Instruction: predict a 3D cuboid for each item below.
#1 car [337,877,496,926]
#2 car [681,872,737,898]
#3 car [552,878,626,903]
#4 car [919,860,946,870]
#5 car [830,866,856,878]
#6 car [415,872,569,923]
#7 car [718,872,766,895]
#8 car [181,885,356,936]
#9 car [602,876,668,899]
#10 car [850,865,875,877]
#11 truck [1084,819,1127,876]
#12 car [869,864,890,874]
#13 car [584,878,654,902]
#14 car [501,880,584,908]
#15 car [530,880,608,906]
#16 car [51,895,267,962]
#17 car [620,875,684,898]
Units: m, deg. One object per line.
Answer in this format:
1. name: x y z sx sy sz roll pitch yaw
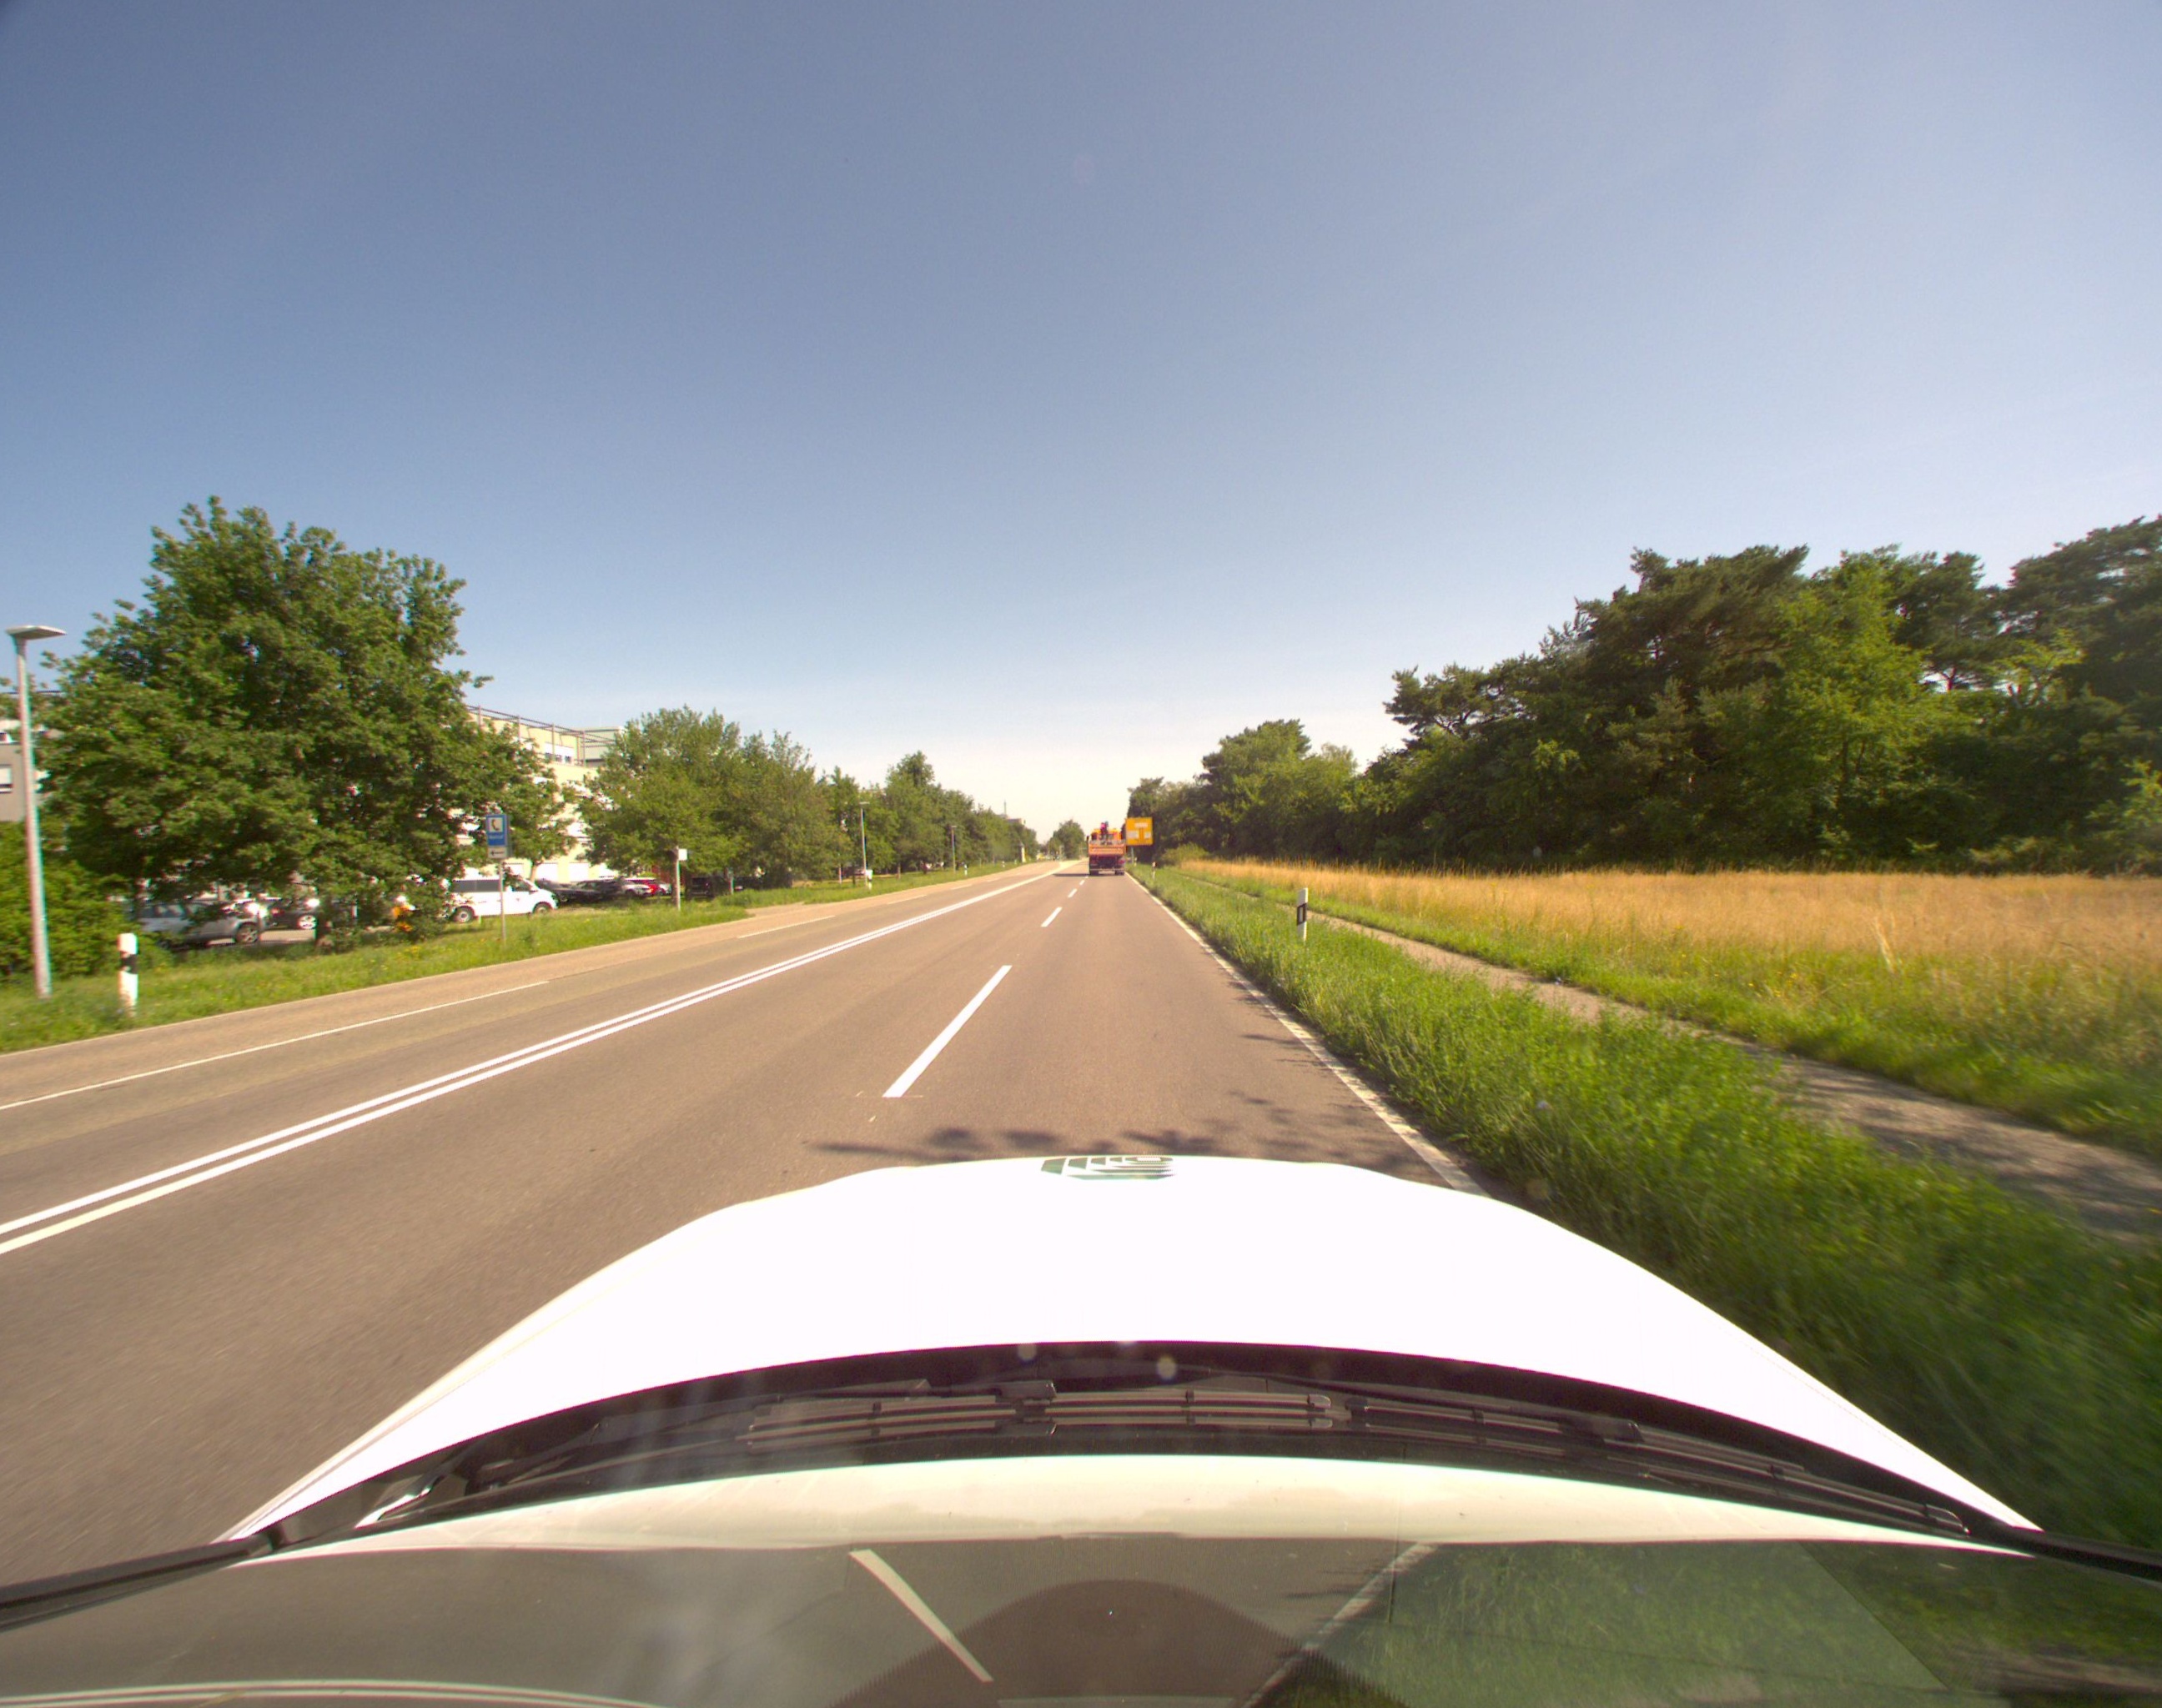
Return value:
1. car: -29.414 2.068 36.224 2.047 1.806 5.048 -2 0 32
2. car: -26.580 2.191 58.301 1.736 1.578 4.550 -2 0 1
3. car: -34.653 2.560 57.442 3.974 1.536 1.888 -2 0 0
4. car: -27.921 2.065 152.926 4.578 1.650 2.000 -2 0 1
5. car: -33.916 2.529 116.302 1.985 1.437 4.959 -2 0 3
6. car: -25.837 1.861 35.922 2.047 1.929 5.048 -2 0 32
7. car: -26.495 2.273 63.805 1.736 1.578 4.550 -2 0 1
8. car: -35.298 2.400 35.564 2.047 1.806 5.048 -2 0 32
9. car: -34.365 2.539 62.809 3.974 1.536 1.742 -2 0 0
10. car: -31.306 2.409 116.857 1.985 1.437 4.959 -2 0 3
11. truck: 1.677 -0.453 58.810 2.863 3.880 7.397 0 0 -1
12. car: -31.411 2.368 126.826 1.986 1.437 4.611 -2 0 1
13. car: -33.902 2.643 59.825 3.974 1.536 1.888 -2 0 0
14. car: -34.486 2.537 52.185 3.974 1.536 1.888 -2 0 0
15. car: -34.332 2.598 54.685 3.974 1.536 1.888 -2 0 0
16. car: -28.640 2.256 25.546 1.922 1.651 4.192 -2 0 0
17. car: -34.250 2.558 65.134 4.121 1.585 1.742 -2 0 0
